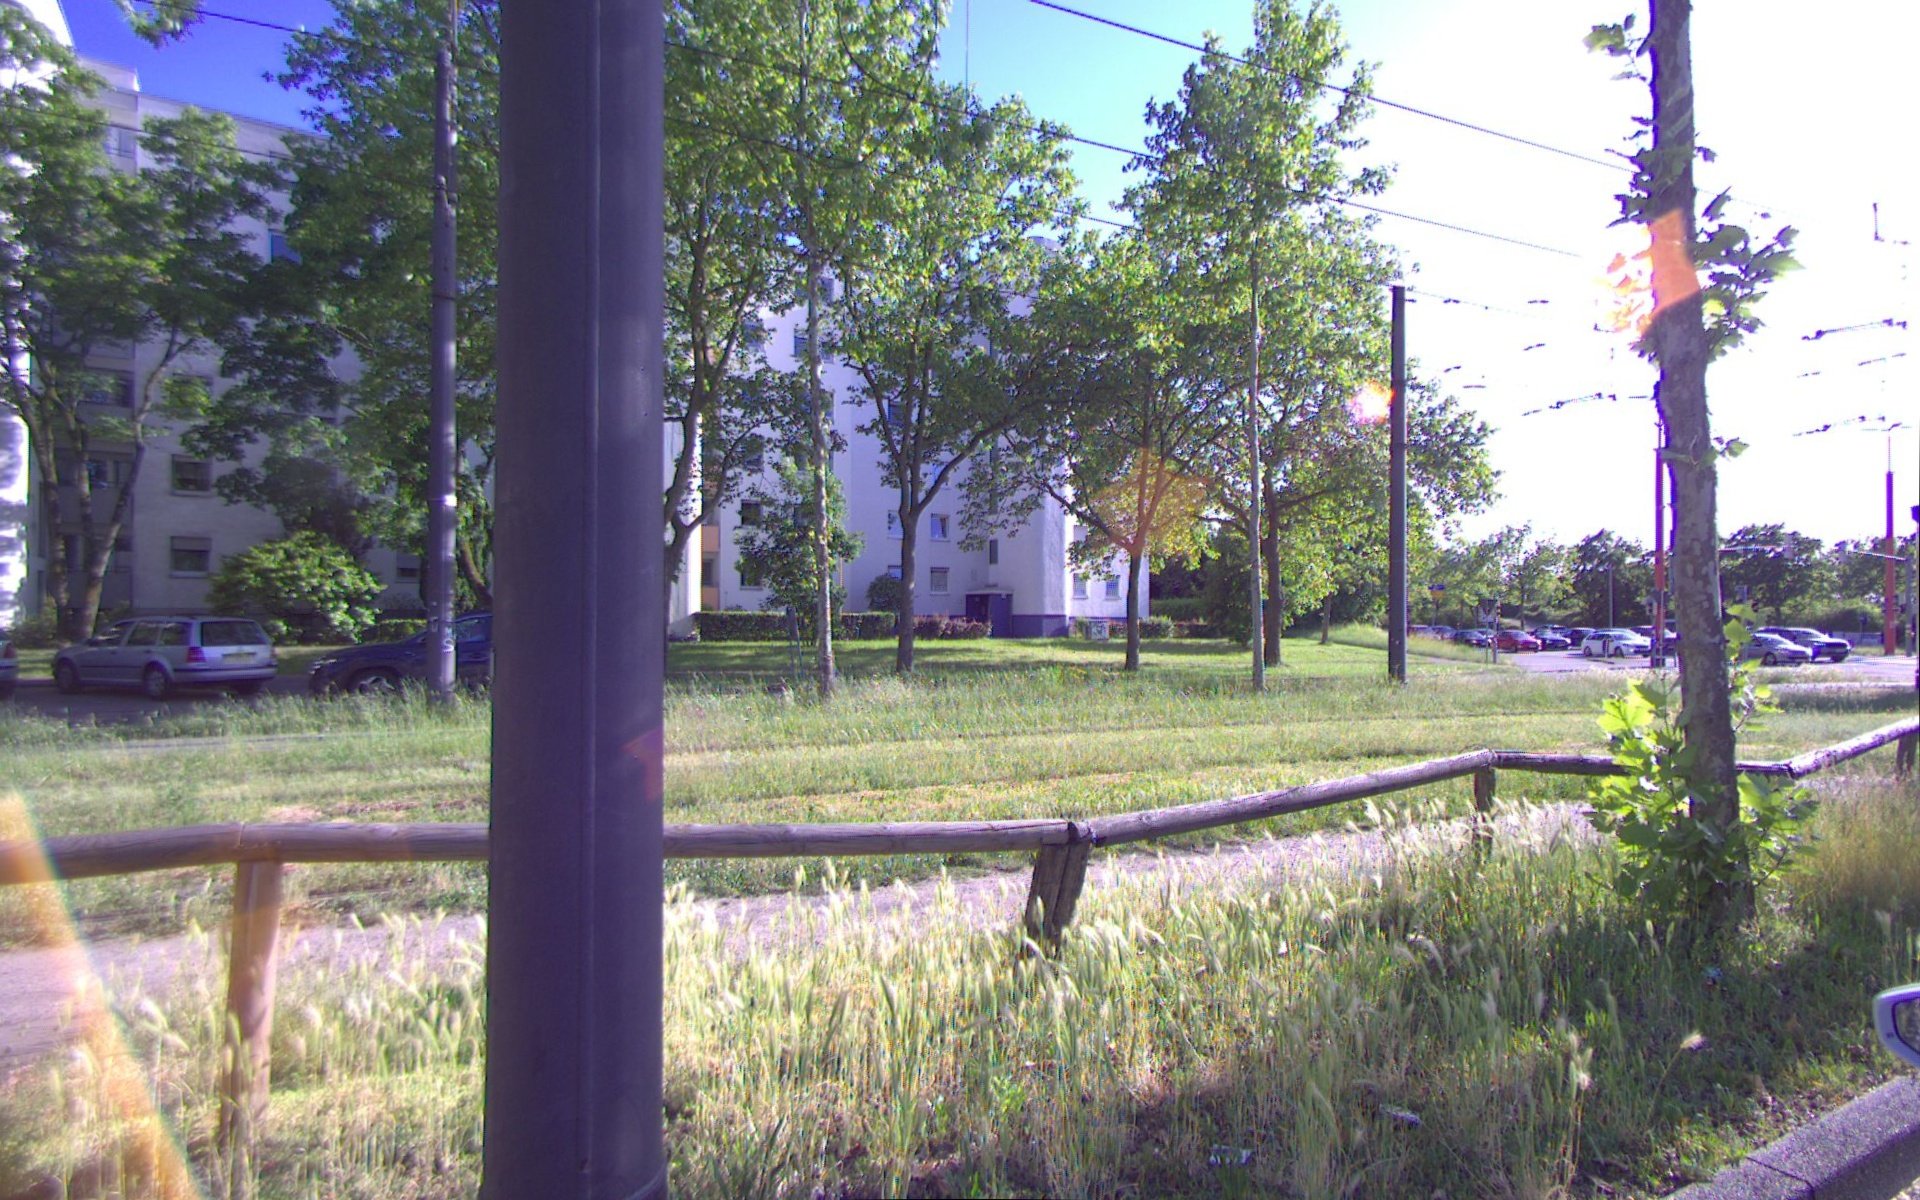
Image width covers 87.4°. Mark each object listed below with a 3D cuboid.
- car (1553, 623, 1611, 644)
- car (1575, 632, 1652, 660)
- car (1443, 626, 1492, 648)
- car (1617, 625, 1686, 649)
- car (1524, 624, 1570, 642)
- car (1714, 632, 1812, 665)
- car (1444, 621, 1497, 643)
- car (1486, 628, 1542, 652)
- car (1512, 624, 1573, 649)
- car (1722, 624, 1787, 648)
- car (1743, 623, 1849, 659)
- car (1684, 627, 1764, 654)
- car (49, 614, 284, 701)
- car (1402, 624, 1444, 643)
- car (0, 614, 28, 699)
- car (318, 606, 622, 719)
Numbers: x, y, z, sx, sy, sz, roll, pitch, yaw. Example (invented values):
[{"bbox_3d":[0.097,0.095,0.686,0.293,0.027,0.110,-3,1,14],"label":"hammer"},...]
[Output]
[{"bbox_3d":[45.309,2.444,73.312,1.513,1.434,4.154,1,-1,-3],"label":"car"},{"bbox_3d":[38.995,2.718,60.063,1.624,1.540,4.638,1,-1,1],"label":"car"},{"bbox_3d":[38.660,2.793,76.656,1.624,1.540,4.200,1,-1,1],"label":"car"},{"bbox_3d":[45.405,2.414,66.064,1.513,1.434,4.154,1,-1,-3],"label":"car"},{"bbox_3d":[58.287,3.232,99.823,1.625,1.647,4.673,1,-1,-3],"label":"car"},{"bbox_3d":[38.989,2.323,48.857,1.624,1.460,3.841,1,-1,-2],"label":"car"},{"bbox_3d":[41.950,2.590,82.694,1.723,1.669,4.640,1,-1,-5],"label":"car"},{"bbox_3d":[38.446,2.755,69.787,1.624,1.540,4.200,1,-1,1],"label":"car"},{"bbox_3d":[42.171,2.599,72.832,1.721,1.669,4.644,1,-1,1],"label":"car"},{"bbox_3d":[63.226,2.817,80.002,1.626,1.773,4.128,1,-1,-7],"label":"car"},{"bbox_3d":[42.714,2.077,51.474,1.624,1.669,4.644,1,-1,1],"label":"car"},{"bbox_3d":[45.579,2.382,60.045,1.513,1.434,4.154,1,-1,-3],"label":"car"},{"bbox_3d":[-14.536,0.996,18.420,3.830,1.421,1.581,1,0,20],"label":"car"},{"bbox_3d":[38.761,2.783,84.268,1.624,1.540,4.200,1,-1,1],"label":"car"},{"bbox_3d":[-17.985,0.932,17.146,3.567,1.421,1.581,1,0,20],"label":"car"},{"bbox_3d":[-7.866,0.948,16.371,4.243,1.640,1.644,1,0,-30],"label":"car"}]
